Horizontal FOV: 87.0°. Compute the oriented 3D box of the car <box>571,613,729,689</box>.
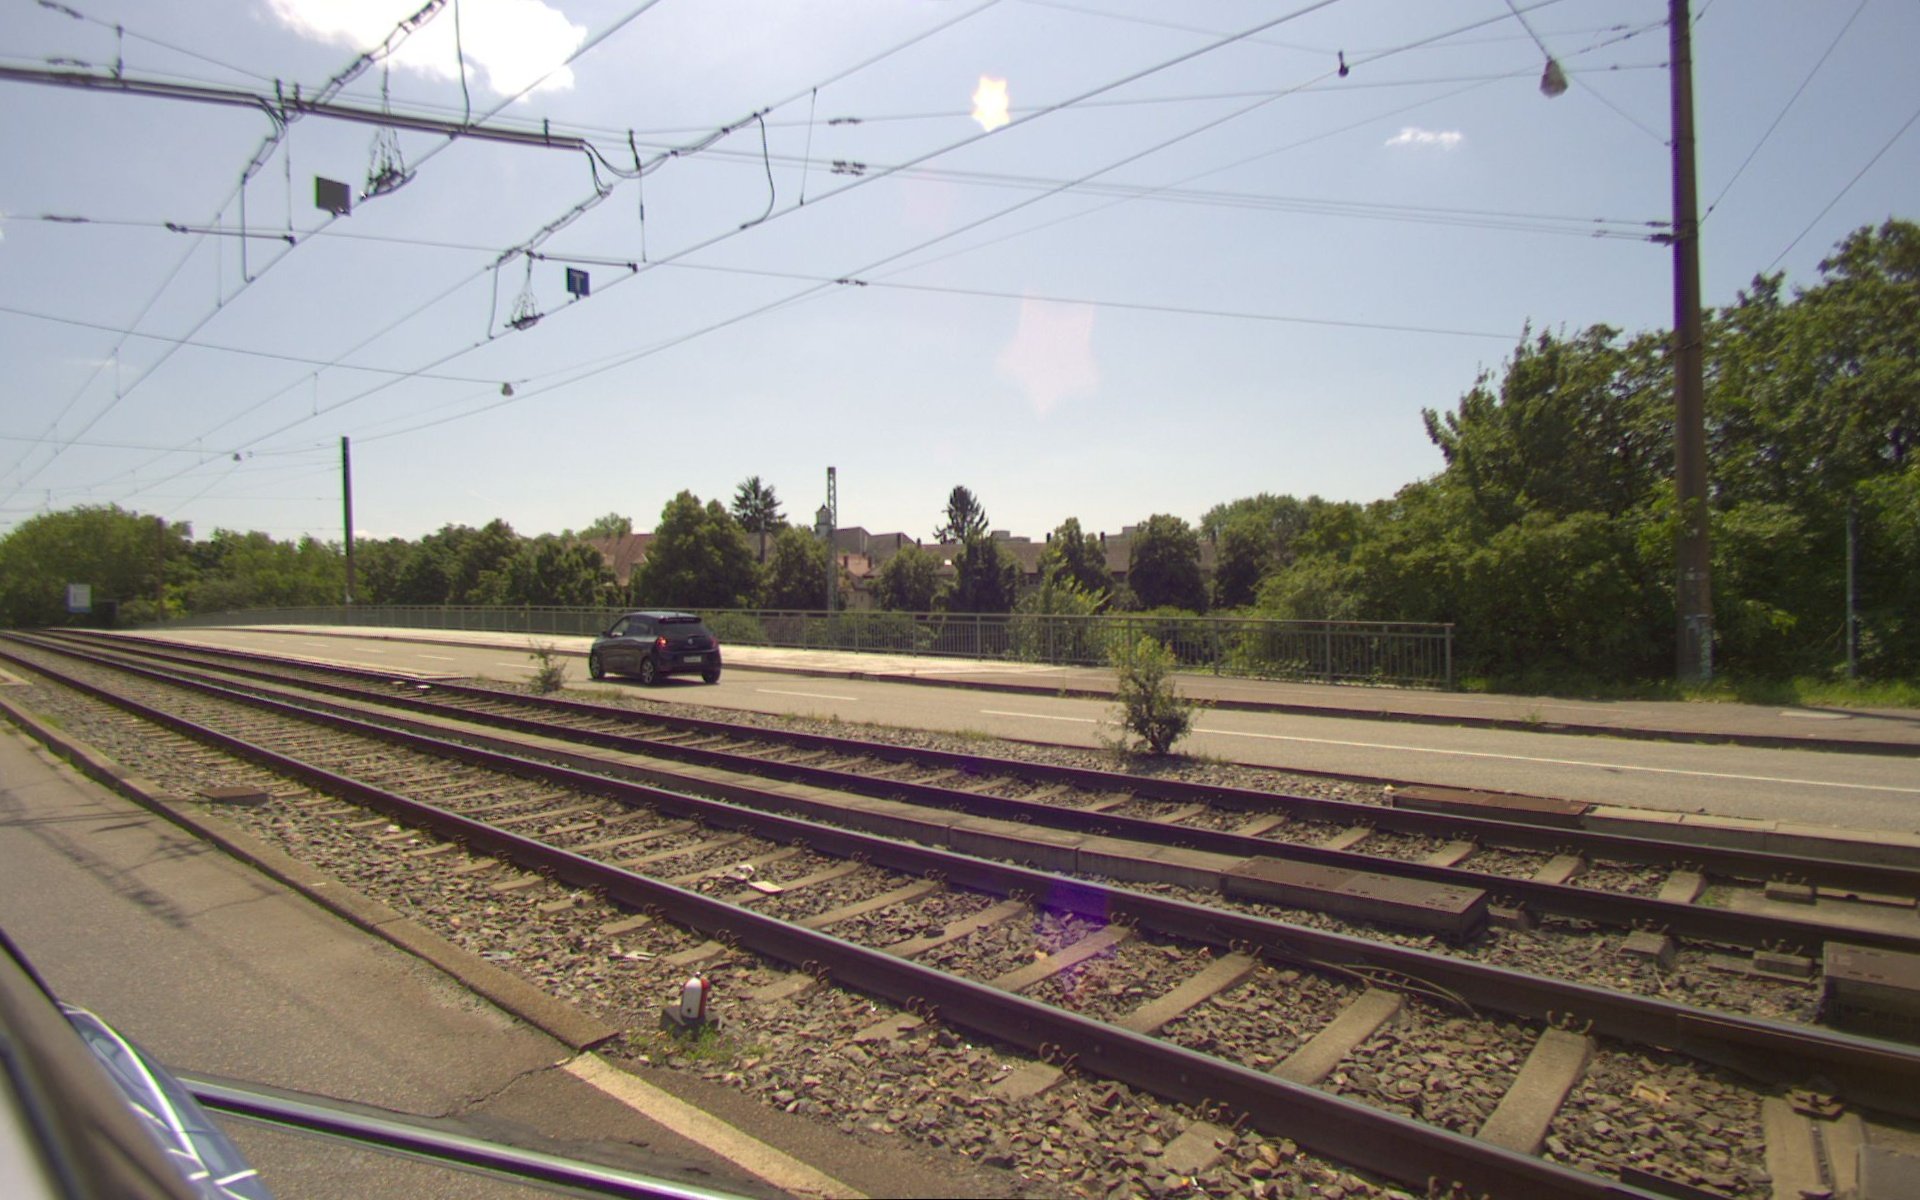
[{"bbox_3d":[-6.890,1.059,22.305,3.733,1.521,1.686,-1,0,43],"label":"car"}]
